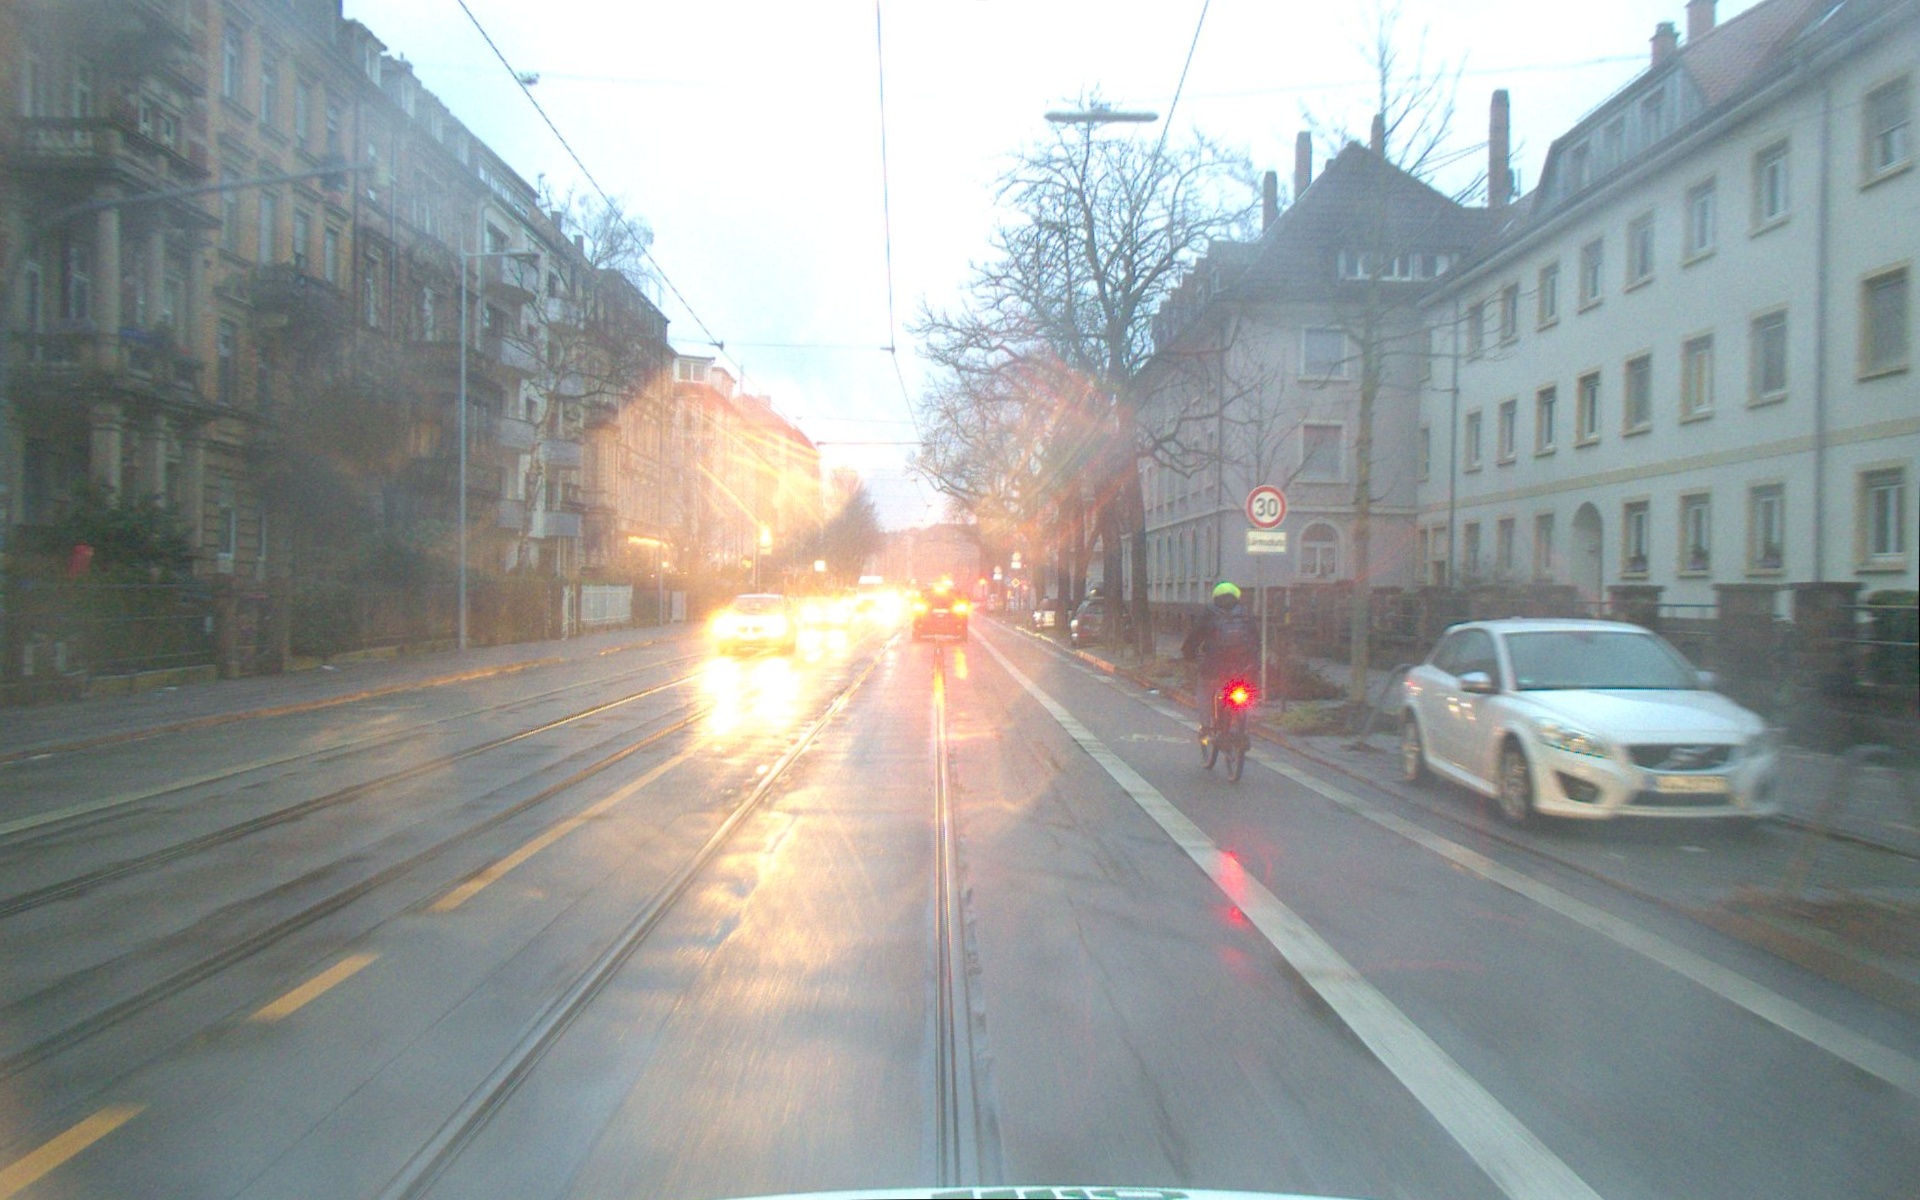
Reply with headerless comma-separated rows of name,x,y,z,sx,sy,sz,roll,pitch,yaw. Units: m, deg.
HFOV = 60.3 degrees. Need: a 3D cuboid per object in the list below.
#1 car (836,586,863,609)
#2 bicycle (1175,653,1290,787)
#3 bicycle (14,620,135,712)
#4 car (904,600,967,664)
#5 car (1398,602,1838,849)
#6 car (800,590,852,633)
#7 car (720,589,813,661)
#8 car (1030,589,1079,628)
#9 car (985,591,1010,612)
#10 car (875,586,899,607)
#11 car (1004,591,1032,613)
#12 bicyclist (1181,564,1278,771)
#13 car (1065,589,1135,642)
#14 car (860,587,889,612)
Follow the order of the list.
car,-8.684,-0.193,130.537,1.884,1.750,3.999,0,0,-1
bicycle,2.351,1.014,14.471,0.716,1.024,1.764,1,0,0
bicycle,-10.602,0.767,19.864,0.485,1.024,1.764,1,0,0
car,-0.777,1.020,54.854,1.764,1.903,4.019,3,0,2
car,4.744,0.805,12.611,1.749,1.536,4.108,0,0,0
car,-5.495,0.441,68.095,1.884,1.691,3.999,0,0,-1
car,-4.771,0.575,41.272,1.884,1.691,3.999,0,0,-1
car,3.865,0.330,68.541,1.749,1.536,4.108,0,0,-1
car,2.886,0.116,127.447,1.749,1.536,4.108,0,0,-1
car,-5.973,-0.266,135.728,1.884,1.691,3.999,0,0,-1
car,4.011,0.130,114.304,1.749,1.536,4.108,0,0,-1
bicyclist,2.352,0.574,14.516,0.715,1.767,0.765,1,0,0
car,4.241,0.436,50.521,1.749,1.536,4.108,0,0,-1
car,-5.971,-0.049,116.030,1.884,1.691,3.999,0,0,-1
